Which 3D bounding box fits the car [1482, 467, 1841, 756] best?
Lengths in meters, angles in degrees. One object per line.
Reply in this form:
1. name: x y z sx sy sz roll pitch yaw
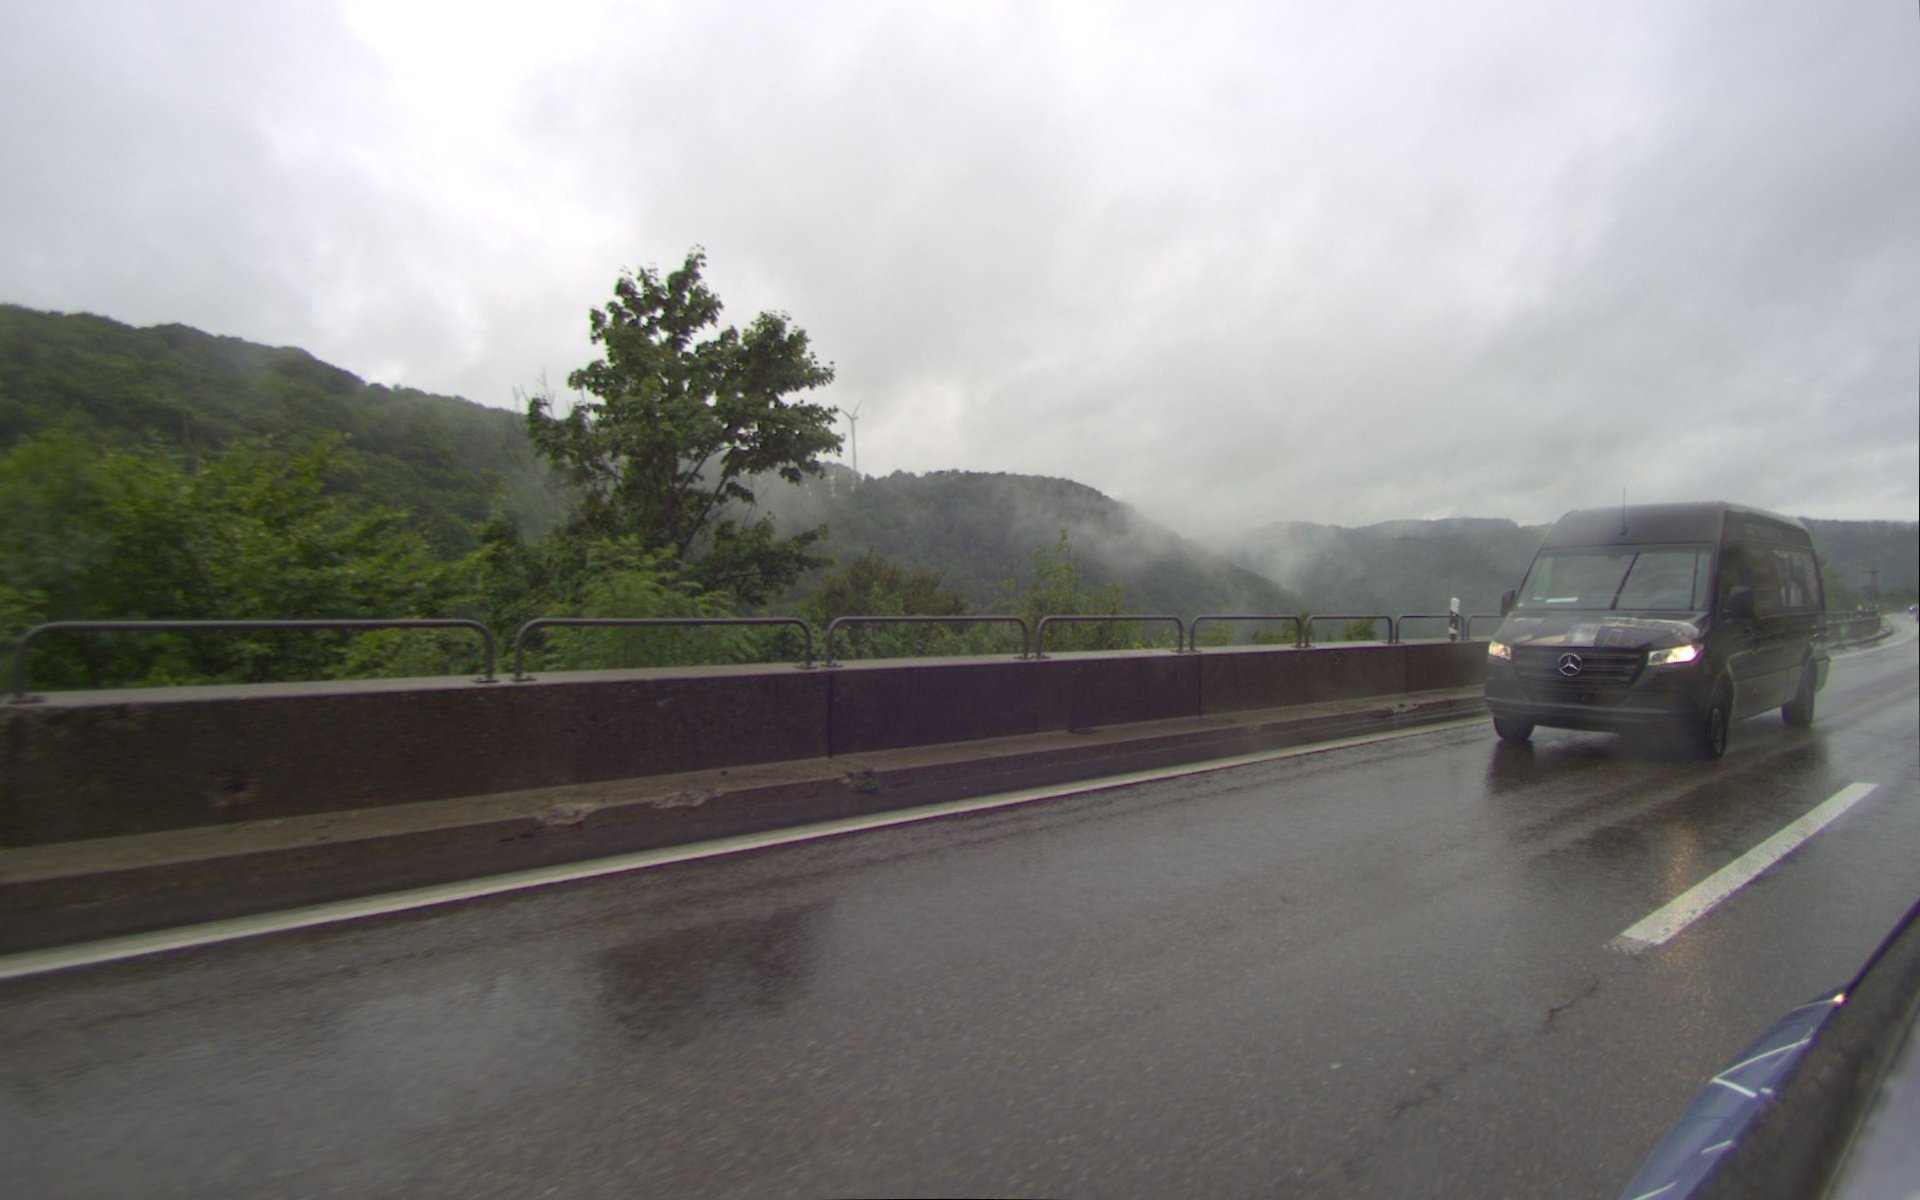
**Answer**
1. car: 8.443 0.116 11.801 6.589 2.526 1.996 1 0 -42
